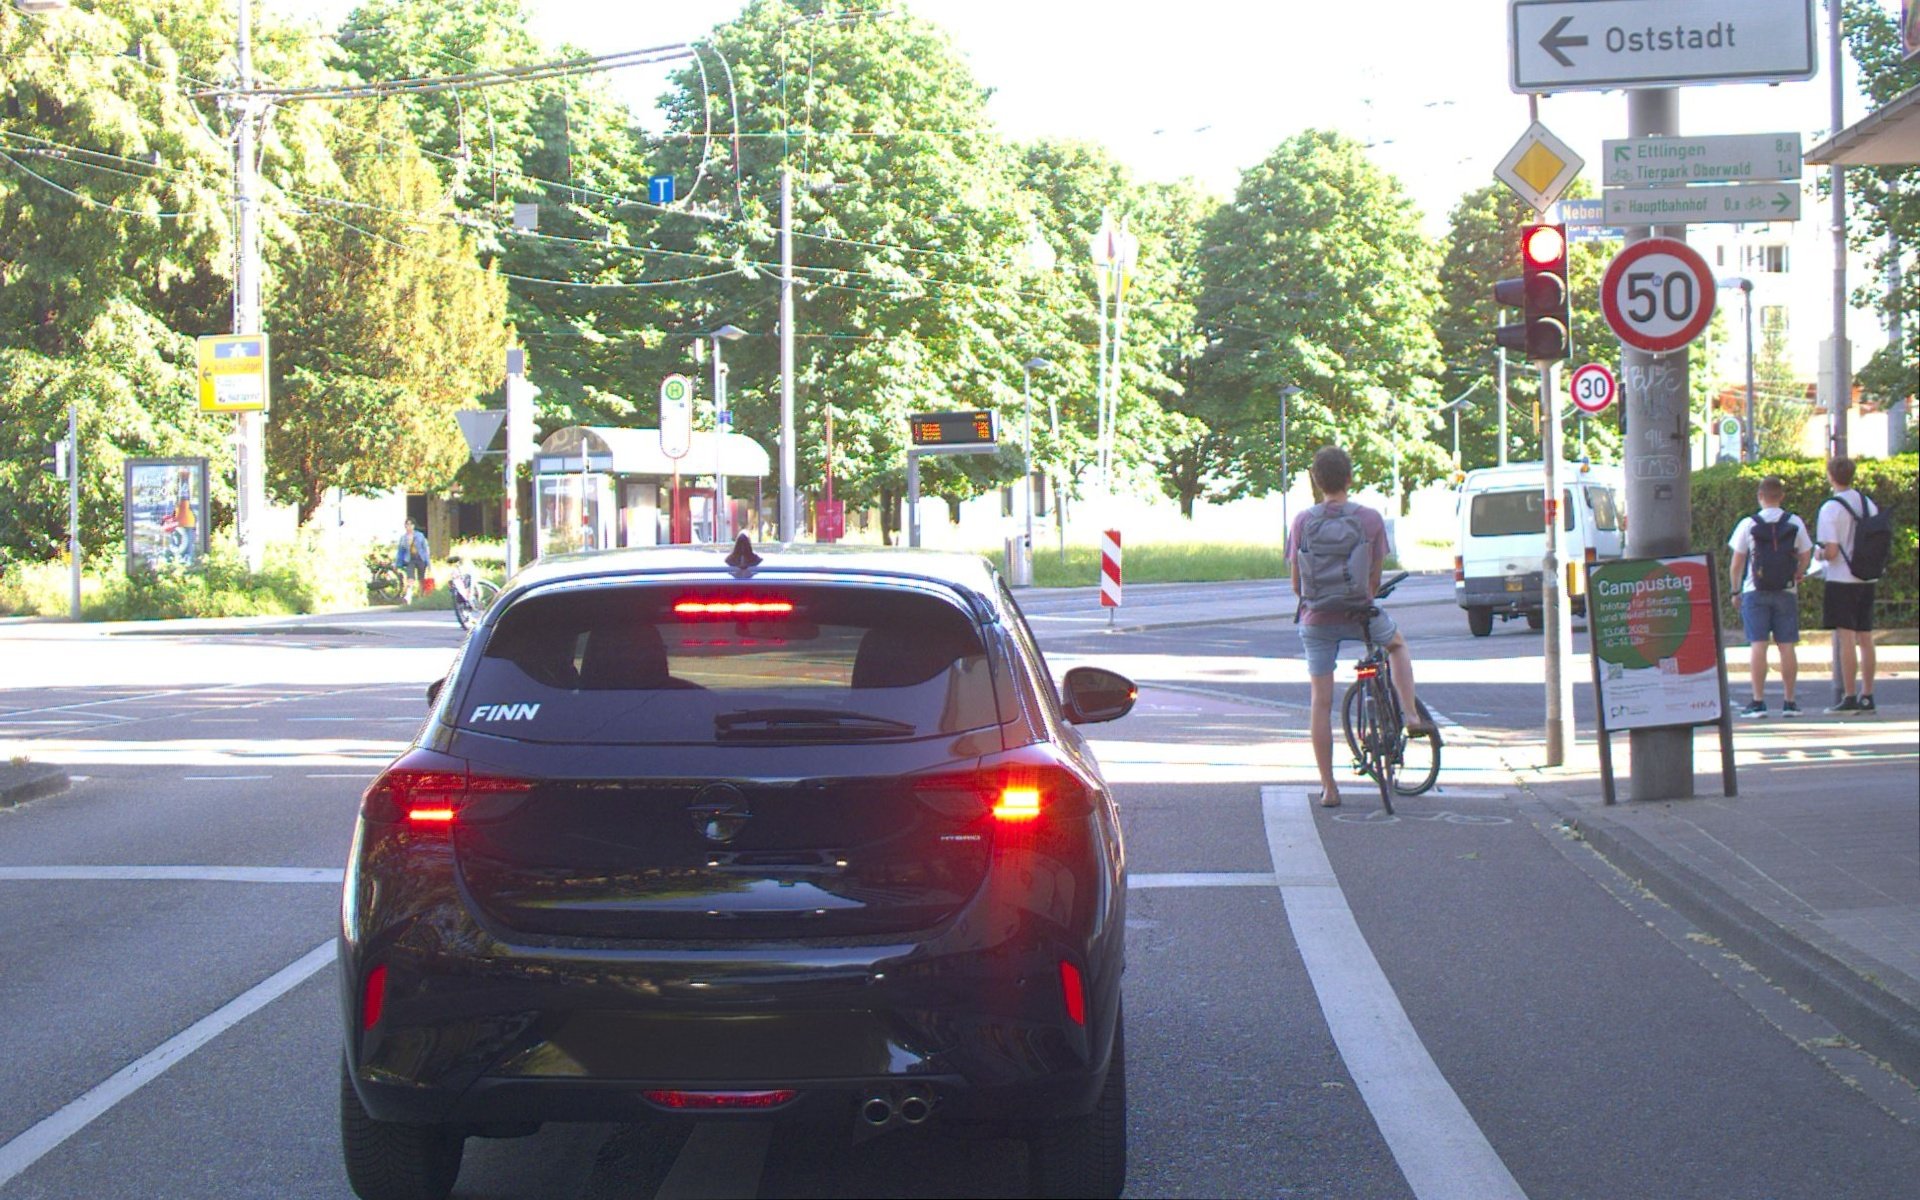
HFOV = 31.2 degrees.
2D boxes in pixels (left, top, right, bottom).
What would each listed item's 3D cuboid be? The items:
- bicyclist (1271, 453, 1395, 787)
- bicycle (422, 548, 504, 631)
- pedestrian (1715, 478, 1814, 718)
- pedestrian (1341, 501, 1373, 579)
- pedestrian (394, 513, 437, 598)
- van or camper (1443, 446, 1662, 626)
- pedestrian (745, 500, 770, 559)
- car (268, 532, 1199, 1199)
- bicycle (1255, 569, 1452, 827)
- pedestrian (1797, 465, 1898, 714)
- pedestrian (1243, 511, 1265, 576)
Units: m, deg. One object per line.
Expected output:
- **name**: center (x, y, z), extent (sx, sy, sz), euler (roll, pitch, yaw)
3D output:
- **bicyclist**: center (1.925, 0.094, 17.709), extent (0.534, 1.686, 0.567), euler (0, 1, 17)
- **bicycle**: center (-6.673, -0.159, 46.259), extent (0.796, 1.061, 2.185), euler (0, 1, -1)
- **pedestrian**: center (5.987, -0.021, 25.574), extent (0.633, 1.757, 0.582), euler (1, 0, 20)
- **pedestrian**: center (9.597, -1.456, 83.099), extent (0.604, 1.865, 0.519), euler (1, 0, 24)
- **pedestrian**: center (-9.444, -0.771, 59.641), extent (0.570, 1.467, 0.665), euler (0, 1, 4)
- **van or camper**: center (8.024, -0.841, 46.244), extent (2.031, 2.302, 4.535), euler (1, 1, 21)
- **pedestrian**: center (-6.434, -2.237, 109.344), extent (0.737, 1.865, 0.662), euler (1, 0, -6)
- **car**: center (-0.471, 0.565, 8.803), extent (1.840, 1.457, 3.984), euler (0, 1, -1)
- **bicycle**: center (2.070, 0.471, 17.885), extent (0.753, 1.231, 2.014), euler (0, 1, 14)
- **pedestrian**: center (6.585, -0.084, 25.500), extent (0.633, 1.814, 0.744), euler (1, 0, 20)
- **pedestrian**: center (8.506, -1.635, 99.424), extent (0.604, 1.865, 0.519), euler (1, 0, 6)
